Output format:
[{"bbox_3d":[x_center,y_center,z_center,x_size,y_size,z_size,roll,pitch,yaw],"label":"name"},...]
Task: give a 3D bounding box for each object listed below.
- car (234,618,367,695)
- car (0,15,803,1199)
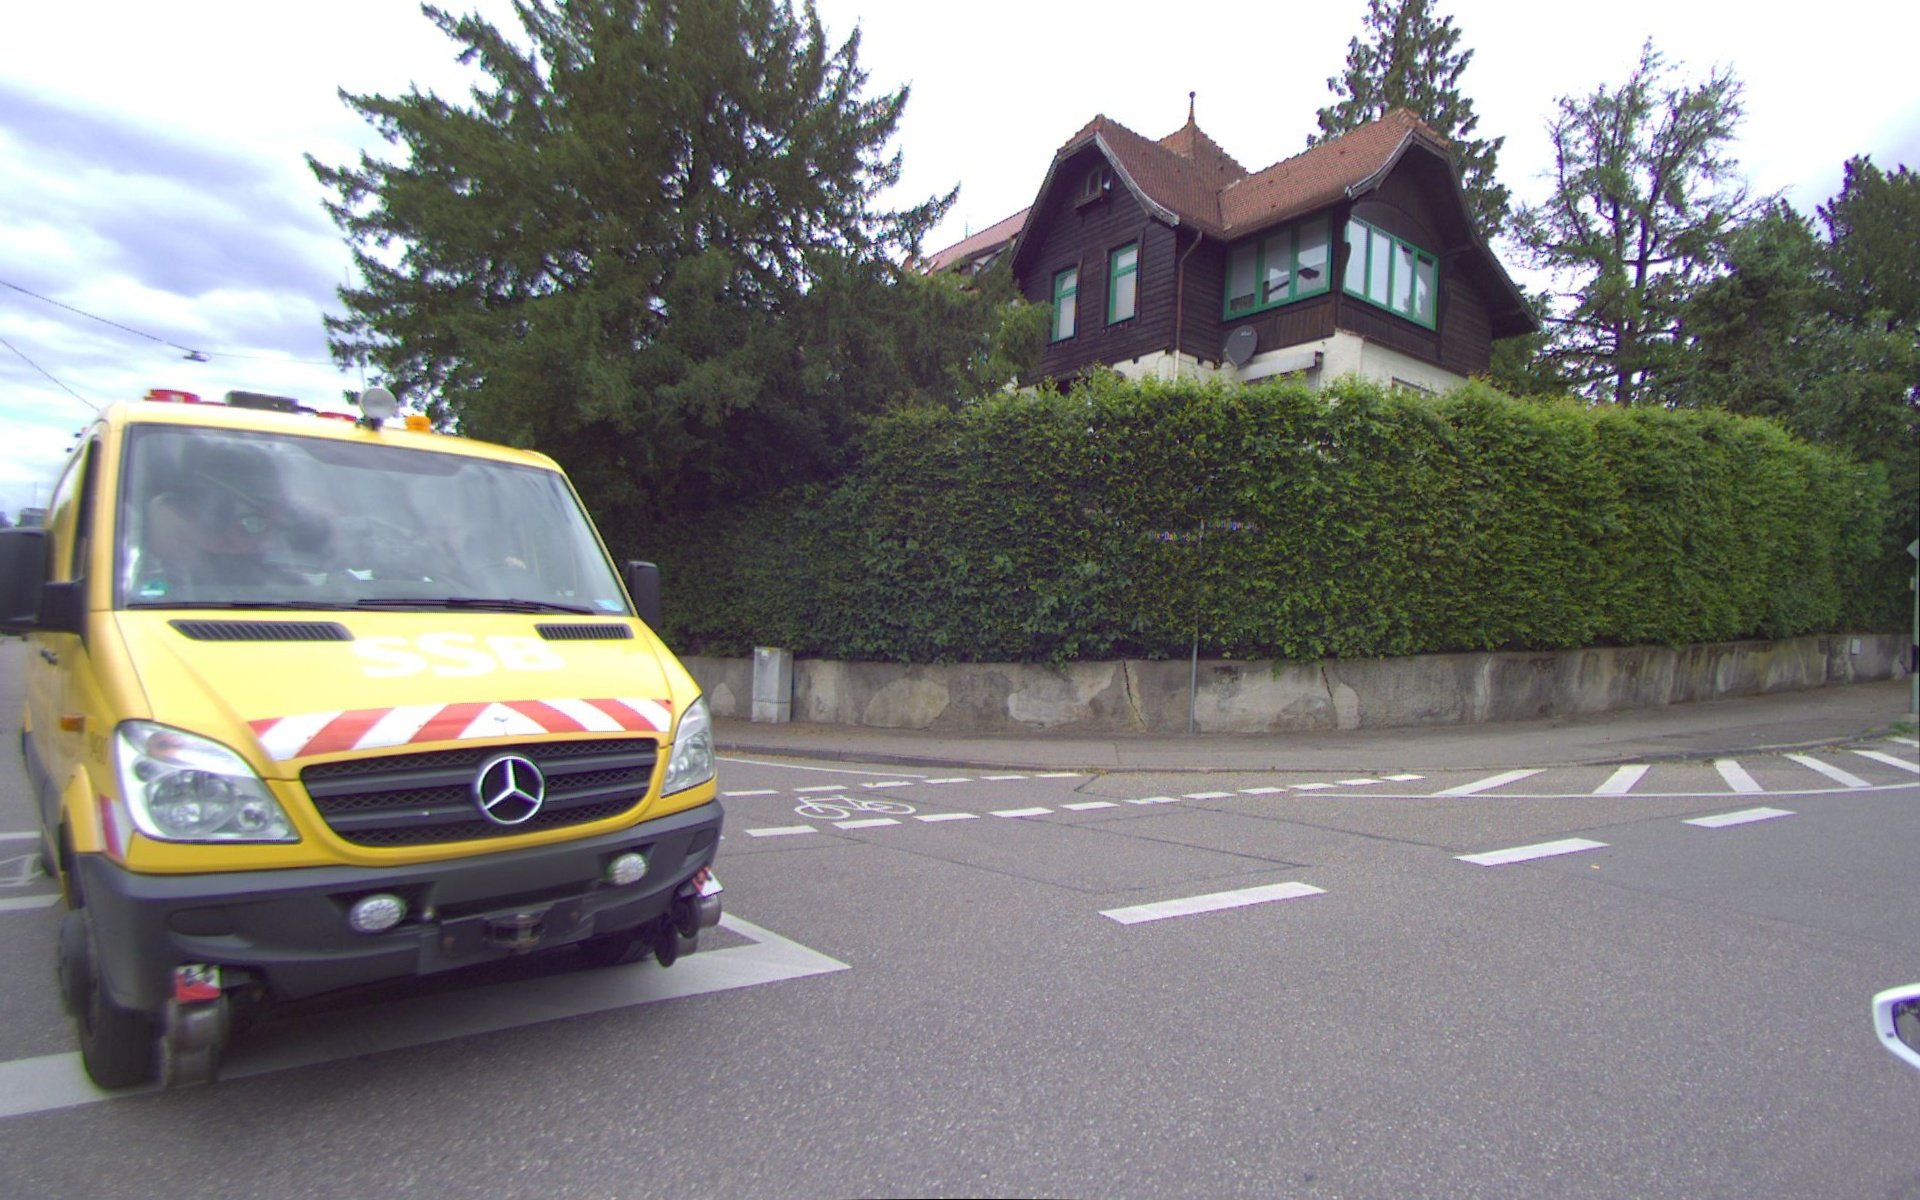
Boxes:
[{"bbox_3d":[-15.413,1.248,23.390,4.027,1.646,1.815,-1,-2,45],"label":"car"},{"bbox_3d":[-3.462,0.079,5.060,2.351,2.636,6.067,0,-1,-42],"label":"car"}]
